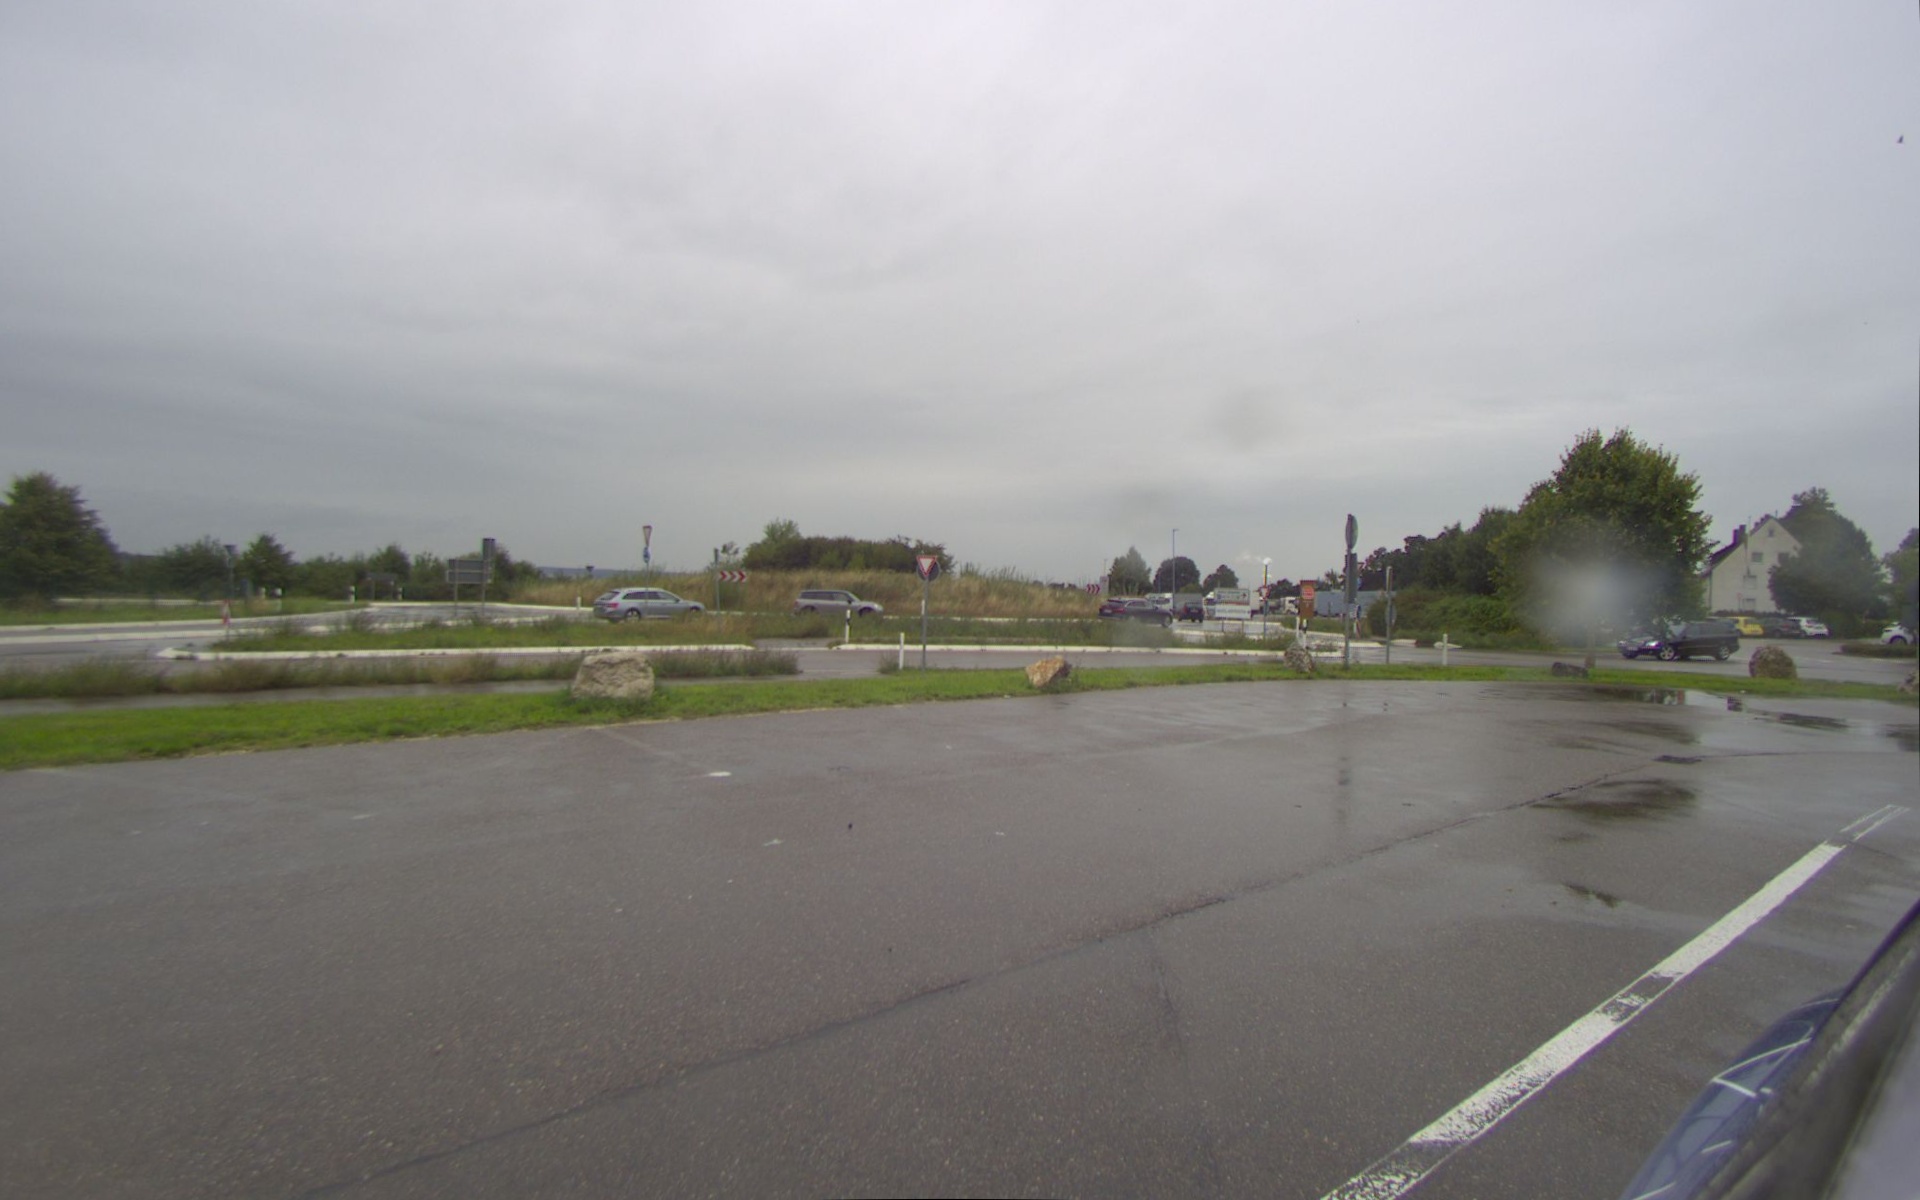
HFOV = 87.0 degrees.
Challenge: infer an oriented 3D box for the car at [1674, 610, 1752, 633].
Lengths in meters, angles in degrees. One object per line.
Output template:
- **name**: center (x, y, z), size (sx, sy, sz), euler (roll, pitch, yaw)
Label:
- **car**: center (52.766, 1.498, 71.044), size (1.962, 1.570, 4.648), euler (1, -1, -1)

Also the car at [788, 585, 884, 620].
- **car**: center (-5.577, 0.102, 45.878), size (4.224, 1.340, 1.759), euler (2, 3, -4)

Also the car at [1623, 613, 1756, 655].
- **car**: center (27.428, 1.270, 38.082), size (4.268, 1.442, 1.710), euler (1, 1, -15)

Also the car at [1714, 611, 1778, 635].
- **car**: center (55.343, 1.597, 71.343), size (1.635, 1.569, 3.724), euler (1, 0, 2)

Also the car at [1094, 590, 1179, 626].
- **car**: center (9.322, 0.376, 53.166), size (4.588, 1.704, 1.890), euler (-1, 3, -41)

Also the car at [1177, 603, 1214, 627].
- **car**: center (16.750, 1.065, 72.116), size (1.965, 1.623, 4.518), euler (0, 0, 5)

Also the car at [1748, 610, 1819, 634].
- **car**: center (57.794, 1.492, 71.101), size (1.715, 1.590, 3.891), euler (1, 0, -3)

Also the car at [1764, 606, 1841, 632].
- **car**: center (59.859, 1.342, 71.985), size (1.951, 1.750, 4.003), euler (1, 0, -4)

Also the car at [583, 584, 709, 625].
- **car**: center (-13.004, 0.200, 42.044), size (4.582, 1.500, 1.997), euler (2, 1, -43)

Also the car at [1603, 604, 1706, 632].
- **car**: center (46.109, 1.157, 67.293), size (1.966, 1.744, 5.366), euler (2, -1, -42)

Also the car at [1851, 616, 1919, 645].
- **car**: center (51.397, 1.681, 54.984), size (1.819, 1.443, 4.350), euler (1, 0, -44)

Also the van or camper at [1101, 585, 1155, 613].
- **van or camper**: center (14.101, -0.078, 85.209), size (1.958, 2.038, 4.858), euler (2, 2, -25)
